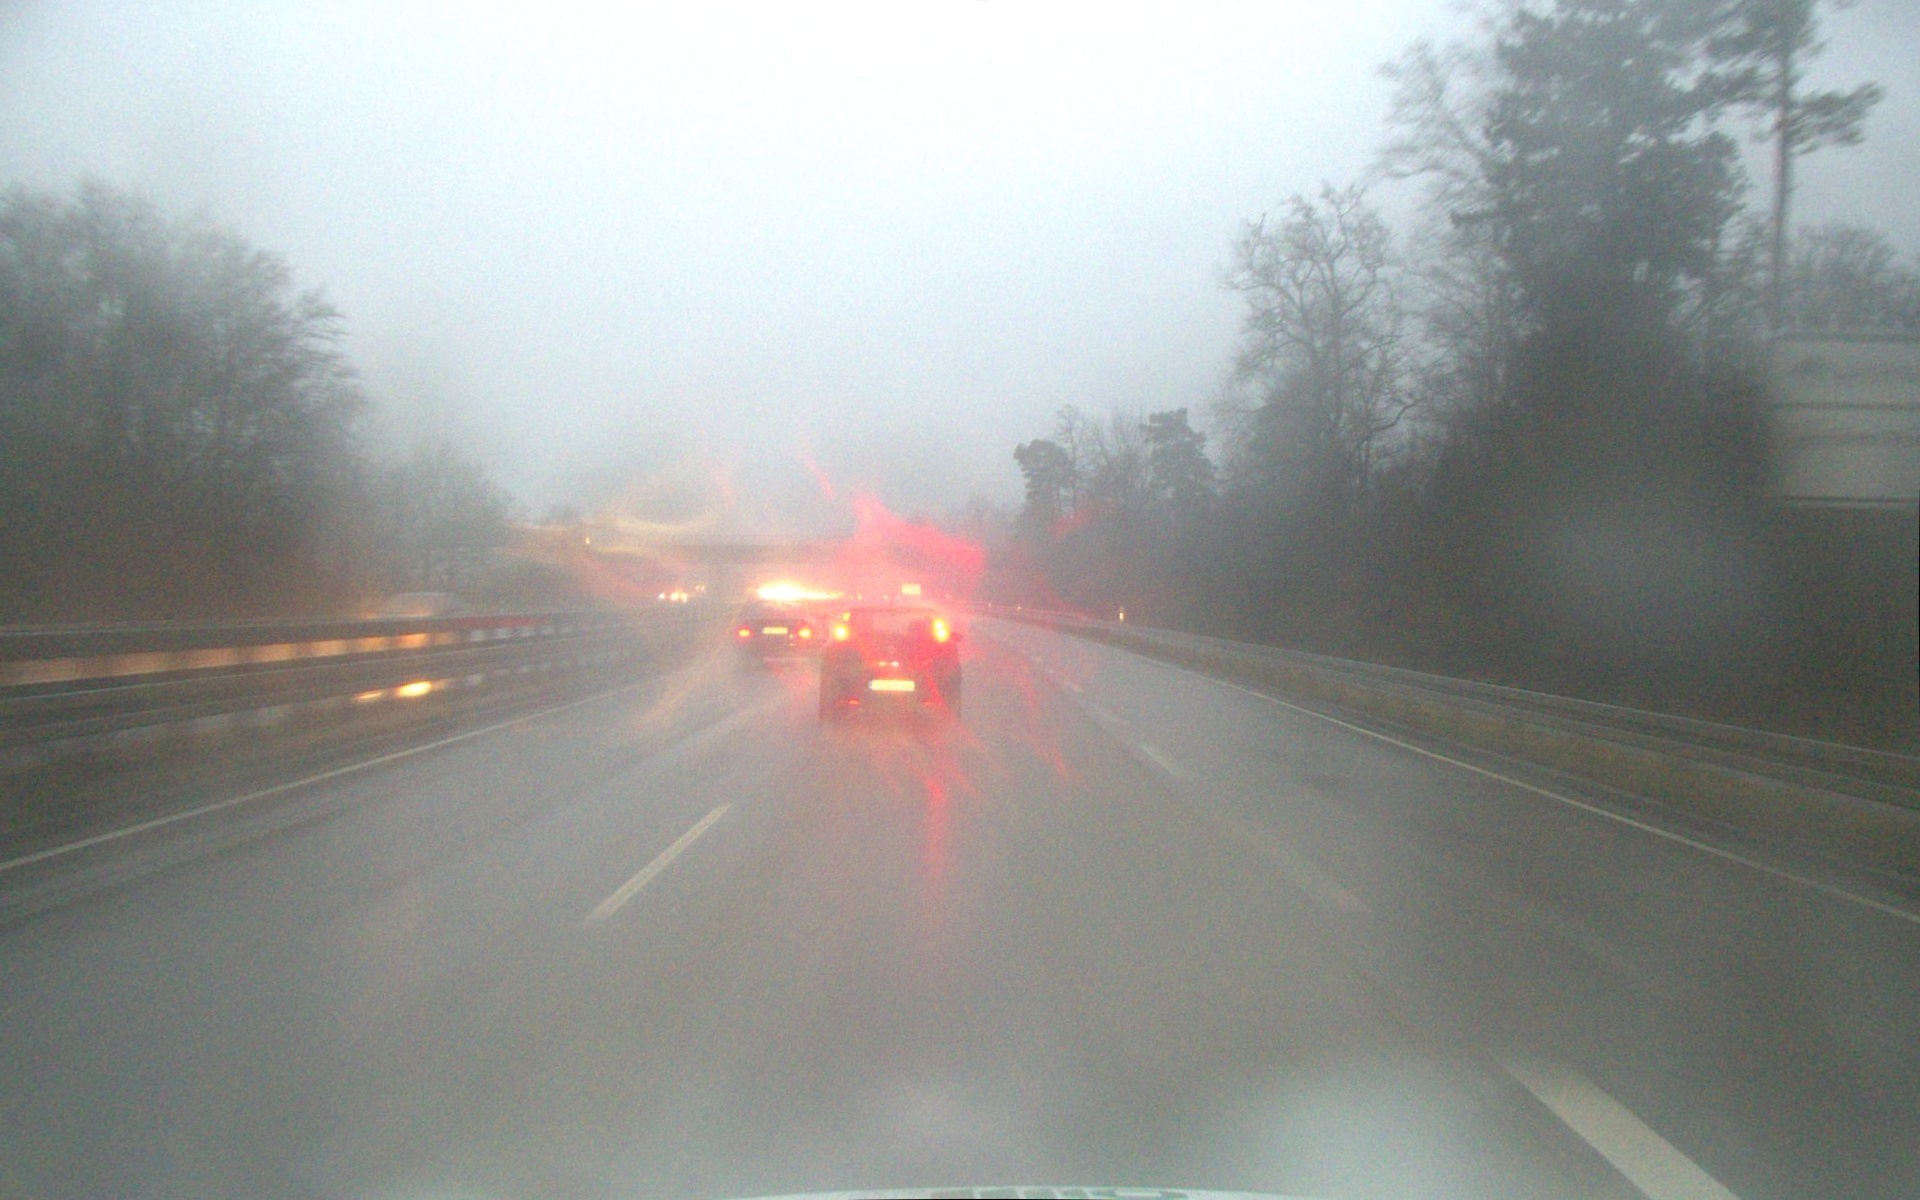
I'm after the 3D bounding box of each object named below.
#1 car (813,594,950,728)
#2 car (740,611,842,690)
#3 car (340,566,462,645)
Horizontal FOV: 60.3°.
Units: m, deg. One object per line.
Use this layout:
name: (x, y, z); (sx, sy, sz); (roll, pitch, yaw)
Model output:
car: (-0.911, 0.700, 20.777); (1.496, 1.440, 3.479); (3, 0, 0)
car: (-3.612, 1.060, 36.036); (1.739, 1.561, 4.702); (-1, -1, 0)
car: (-14.137, 0.107, 42.063); (1.610, 1.816, 4.207); (3, 0, 0)
